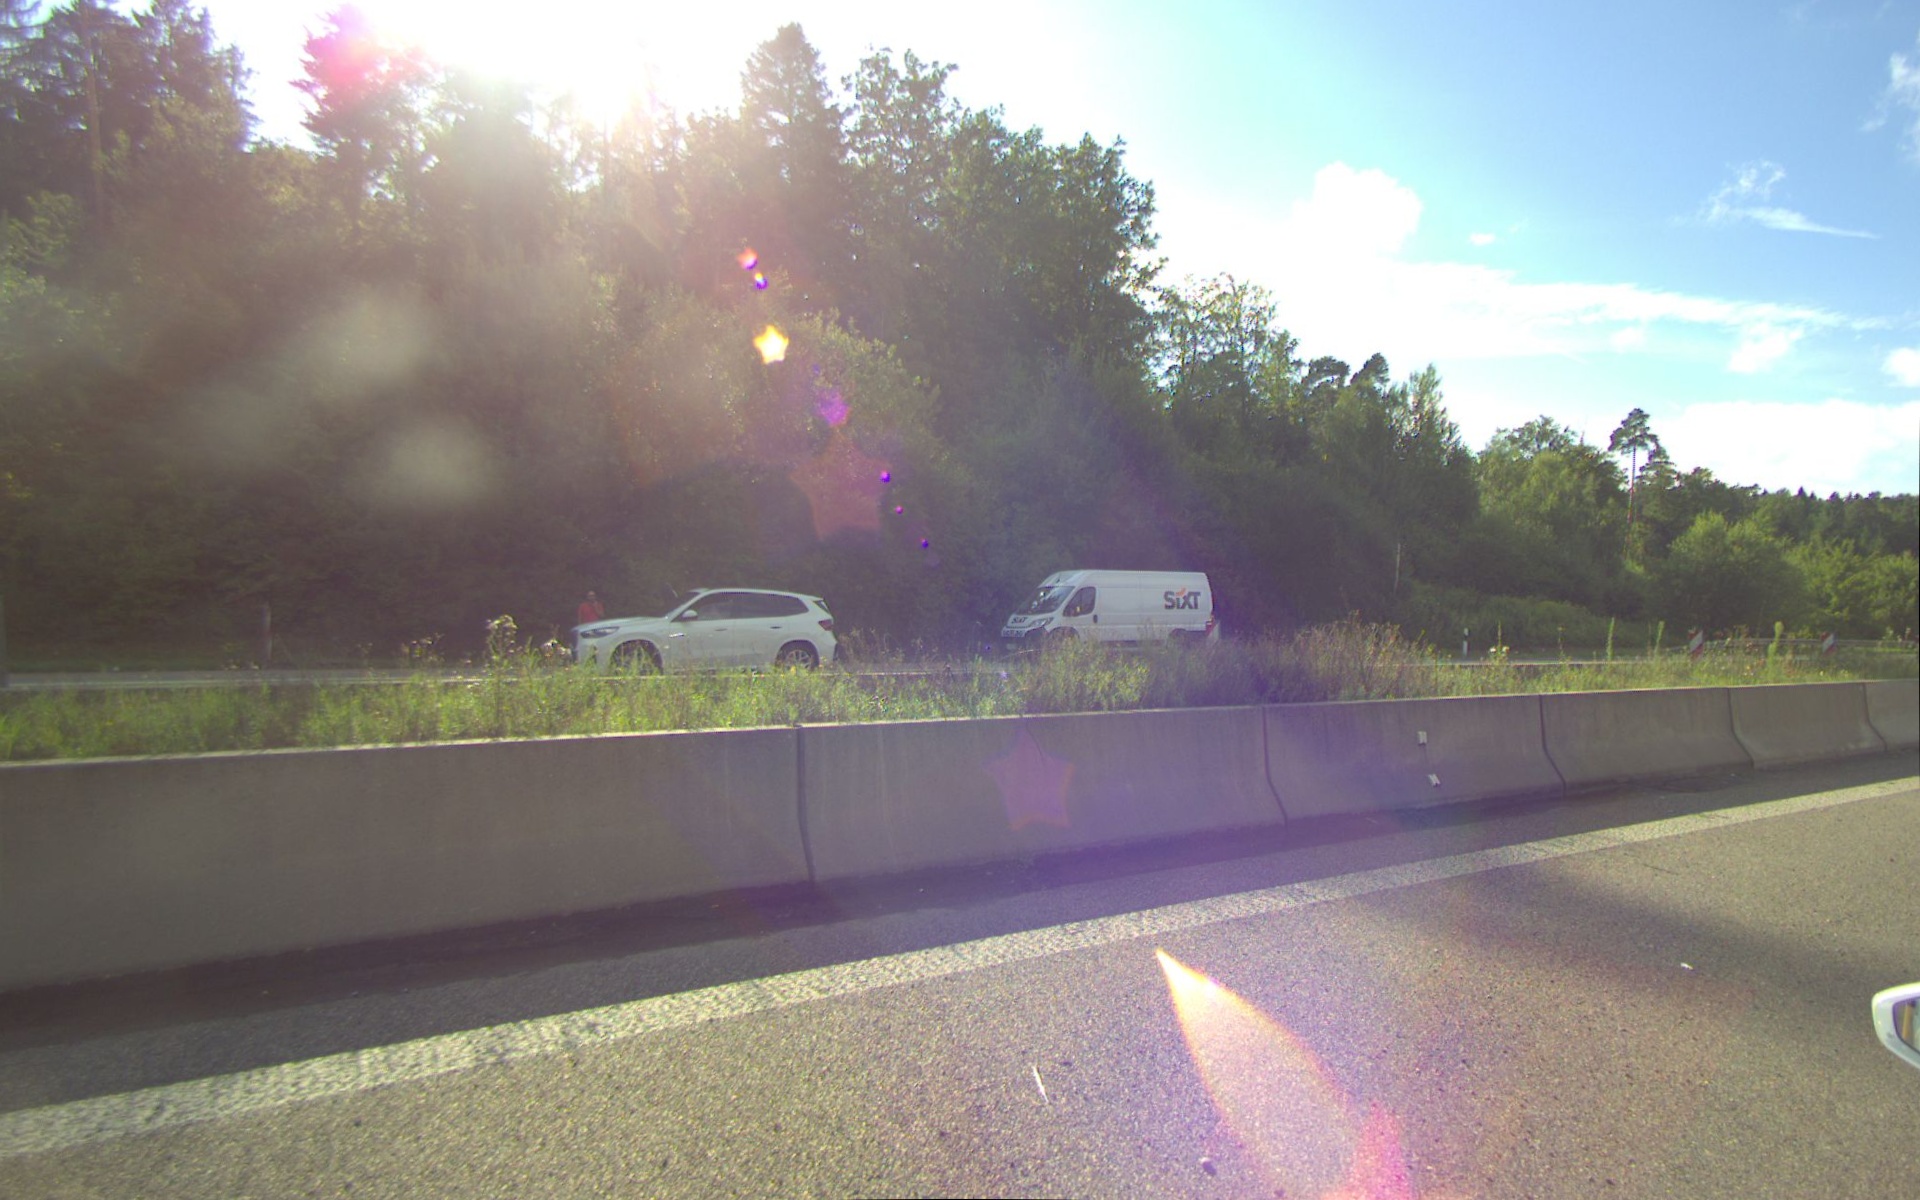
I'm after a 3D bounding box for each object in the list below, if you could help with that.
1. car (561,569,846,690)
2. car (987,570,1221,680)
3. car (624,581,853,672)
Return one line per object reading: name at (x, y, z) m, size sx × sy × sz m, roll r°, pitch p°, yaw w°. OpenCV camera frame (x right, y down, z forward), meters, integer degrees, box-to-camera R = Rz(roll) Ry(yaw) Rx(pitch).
car at (-4.269, 0.505, 16.895) m, size 4.314 × 1.809 × 1.769 m, roll 2°, pitch 0°, yaw -31°
car at (4.007, 0.709, 27.346) m, size 6.447 × 2.720 × 2.018 m, roll 2°, pitch 0°, yaw -31°
car at (-4.953, 0.615, 22.686) m, size 4.706 × 1.878 × 1.851 m, roll 2°, pitch 0°, yaw -31°
